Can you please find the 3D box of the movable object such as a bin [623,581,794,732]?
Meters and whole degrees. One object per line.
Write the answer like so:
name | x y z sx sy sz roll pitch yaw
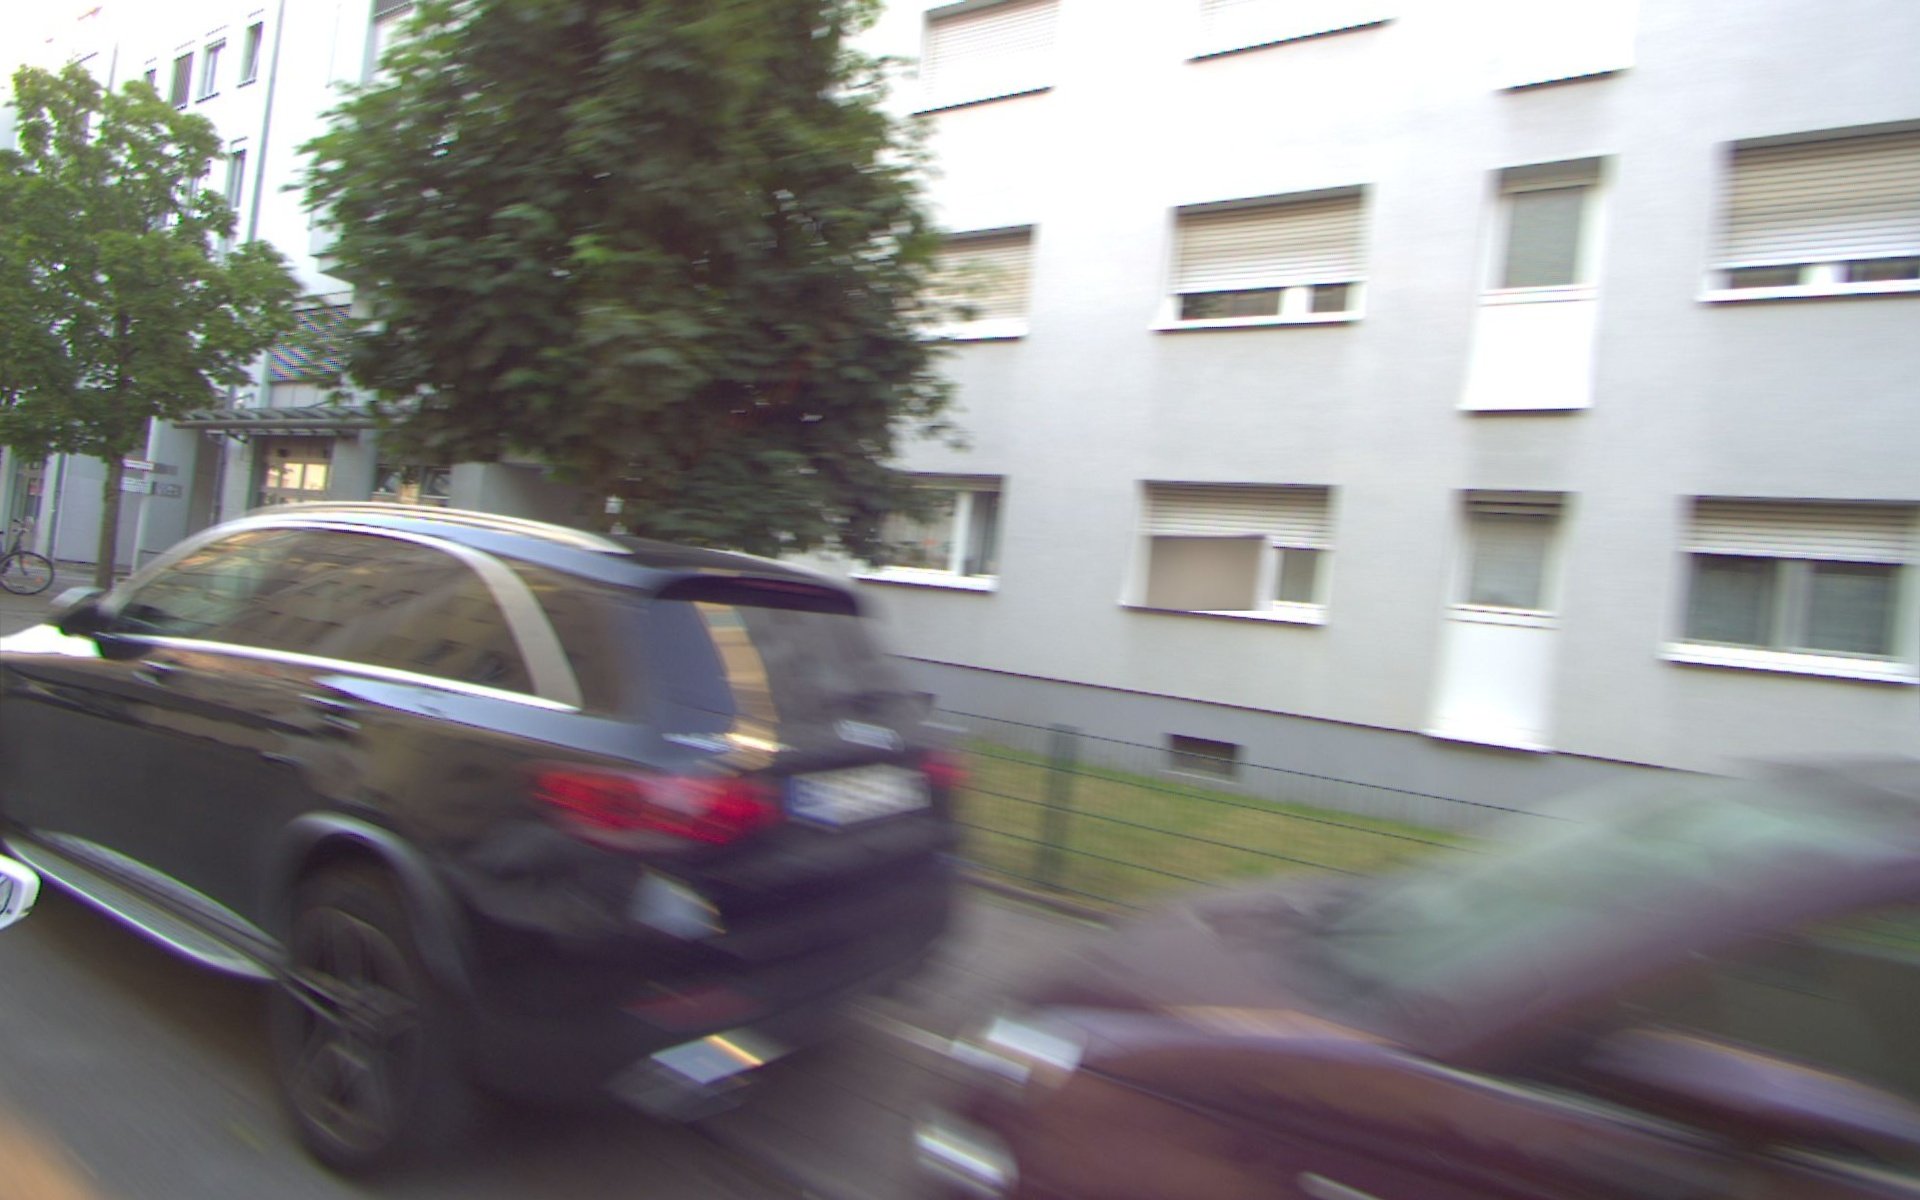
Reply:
movable object such as a bin | -2.731 0.614 10.992 1.120 1.454 1.263 6 -1 31

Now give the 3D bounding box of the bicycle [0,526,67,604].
bicycle | -15.668 -0.610 16.650 1.708 1.183 0.521 6 0 21

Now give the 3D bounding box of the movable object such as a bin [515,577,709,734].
movable object such as a bin | -3.394 0.546 9.869 1.120 1.336 1.263 6 -1 31

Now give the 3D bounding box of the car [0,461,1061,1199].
car | -2.191 0.490 3.772 4.644 1.655 1.874 6 -1 31

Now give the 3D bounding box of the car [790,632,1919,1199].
car | 1.661 1.015 1.671 3.592 1.501 1.679 6 -1 31
